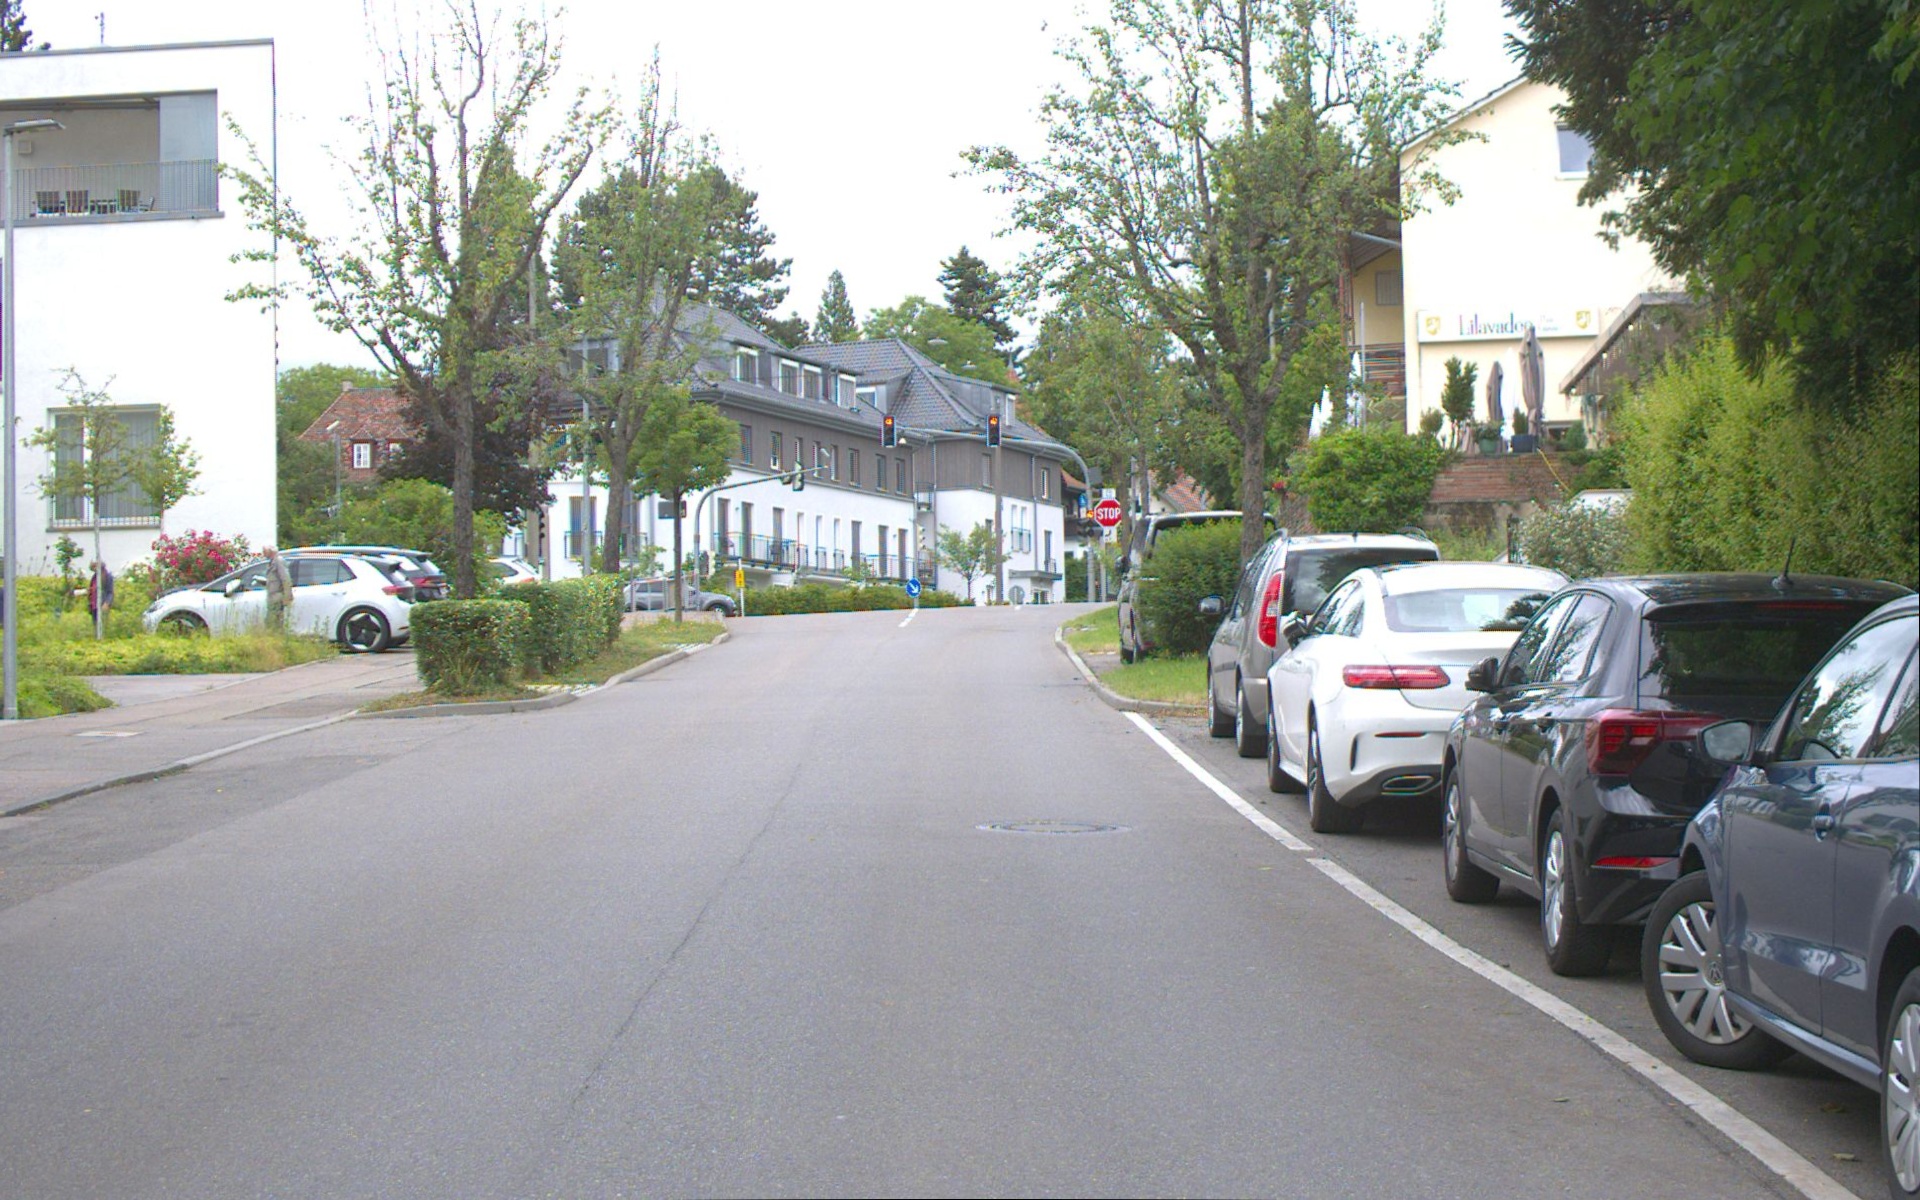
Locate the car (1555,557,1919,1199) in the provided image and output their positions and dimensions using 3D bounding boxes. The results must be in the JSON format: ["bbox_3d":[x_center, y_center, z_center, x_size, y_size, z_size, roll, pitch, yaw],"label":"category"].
[{"bbox_3d":[2.752,0.659,8.950,1.697,1.503,4.160,1,1,0],"label":"car"}]

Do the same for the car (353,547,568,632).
[{"bbox_3d":[-10.514,-0.210,72.619,4.259,1.618,2.014,-2,0,-2],"label":"car"}]

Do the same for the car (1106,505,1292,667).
[{"bbox_3d":[2.877,-0.198,42.336,1.936,1.831,5.219,-1,1,1],"label":"car"}]

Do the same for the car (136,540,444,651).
[{"bbox_3d":[-10.430,-0.090,53.776,4.386,1.561,2.066,-2,1,-1],"label":"car"}]

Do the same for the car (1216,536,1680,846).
[{"bbox_3d":[2.632,0.410,19.731,1.993,1.486,5.004,-2,1,1],"label":"car"}]

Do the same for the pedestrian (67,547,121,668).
[{"bbox_3d":[-12.169,0.099,48.316,0.589,1.676,0.519,-1,1,2],"label":"pedestrian"}]

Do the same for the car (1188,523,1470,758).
[{"bbox_3d":[2.708,0.257,25.976,1.717,1.627,3.929,1,1,0],"label":"car"}]

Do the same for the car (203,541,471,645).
[{"bbox_3d":[-10.177,-0.128,56.355,3.987,1.648,2.008,-1,1,1],"label":"car"}]

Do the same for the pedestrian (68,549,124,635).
[{"bbox_3d":[-12.907,-0.124,51.396,0.607,1.279,0.899,0,1,0],"label":"pedestrian"}]

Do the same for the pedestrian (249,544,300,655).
[{"bbox_3d":[-10.270,-0.005,51.518,0.593,1.635,0.565,-2,1,2],"label":"pedestrian"}]
